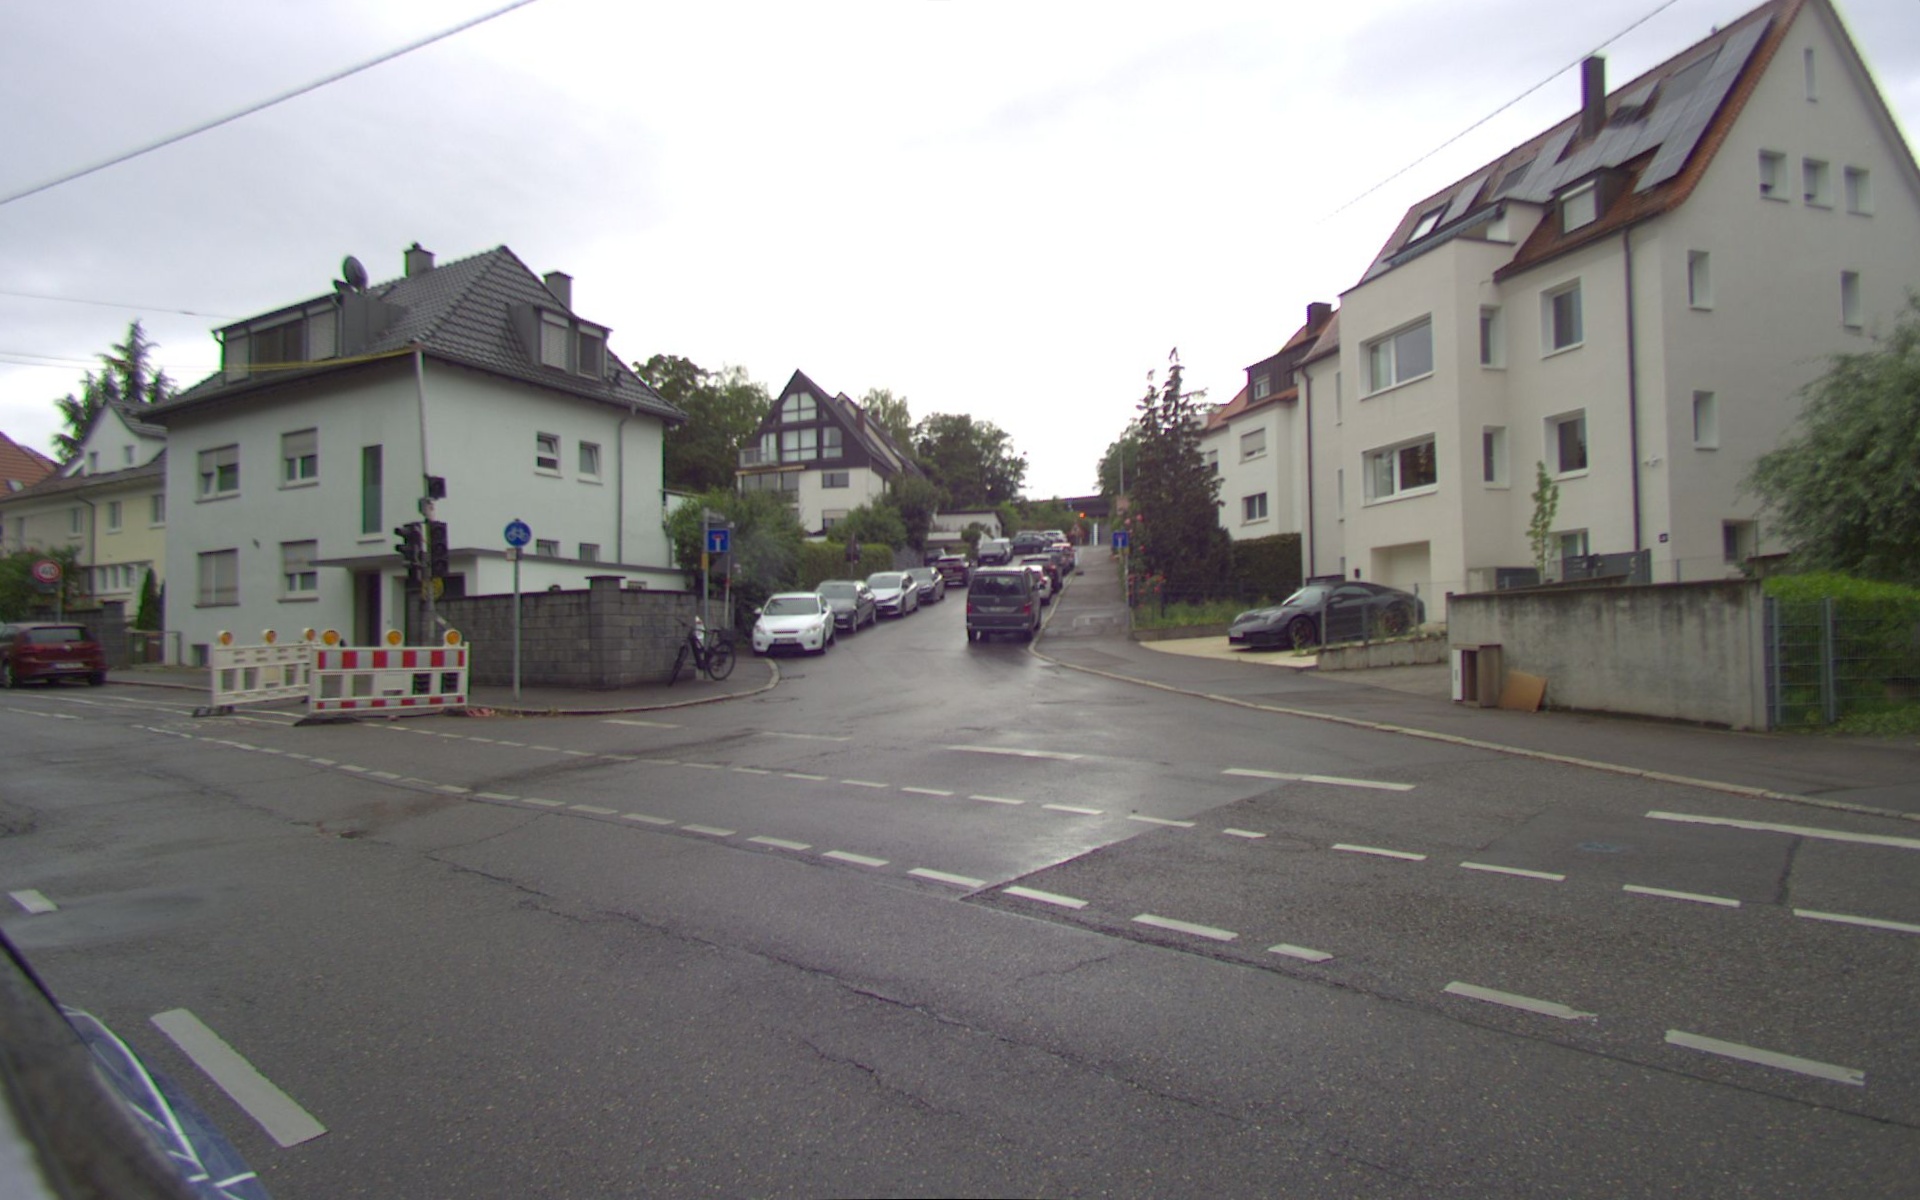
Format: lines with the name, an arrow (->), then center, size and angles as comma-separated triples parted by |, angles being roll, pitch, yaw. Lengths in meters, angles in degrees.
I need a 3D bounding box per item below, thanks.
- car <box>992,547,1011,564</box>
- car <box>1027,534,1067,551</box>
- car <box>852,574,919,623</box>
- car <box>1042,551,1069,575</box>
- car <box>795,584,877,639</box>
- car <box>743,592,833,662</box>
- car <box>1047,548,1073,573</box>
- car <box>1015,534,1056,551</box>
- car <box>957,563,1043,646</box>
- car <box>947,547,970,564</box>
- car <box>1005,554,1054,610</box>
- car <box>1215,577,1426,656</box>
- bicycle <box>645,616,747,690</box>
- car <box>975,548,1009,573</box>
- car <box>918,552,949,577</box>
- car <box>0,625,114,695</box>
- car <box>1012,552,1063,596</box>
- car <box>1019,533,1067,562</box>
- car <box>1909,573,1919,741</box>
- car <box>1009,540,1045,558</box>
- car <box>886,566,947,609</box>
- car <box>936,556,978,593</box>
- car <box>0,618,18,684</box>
car -> 3.065, -3.323, 74.702 | 1.292, 1.206, 2.980 | -1, 3, 5
car -> 8.946, -5.895, 103.906 | 3.782, 1.529, 1.664 | -1, -1, 15
car -> -2.652, -0.083, 37.078 | 1.738, 1.481, 3.940 | -1, 4, 6
car -> 5.509, -2.140, 58.103 | 1.274, 1.325, 2.984 | -1, 3, 10
car -> -3.821, 0.321, 31.810 | 1.702, 1.397, 3.900 | -1, 4, 6
car -> -4.348, 0.626, 26.147 | 1.827, 1.473, 4.124 | -1, 3, -3
car -> 6.244, -2.444, 62.839 | 1.488, 1.373, 3.465 | -1, 0, 8
car -> 7.399, -5.585, 98.780 | 3.922, 1.528, 1.748 | -1, 0, 6
car -> 1.248, 0.052, 29.317 | 1.978, 2.028, 4.482 | -1, 4, 9
car -> -0.075, -3.255, 74.013 | 1.559, 1.220, 3.650 | -1, 3, 2
car -> 2.826, -0.752, 40.315 | 1.686, 1.843, 4.194 | -1, 6, 7
car -> 7.713, 0.335, 21.763 | 3.942, 1.290, 1.613 | -5, 1, -13
bicycle -> -4.780, 0.933, 18.449 | 0.508, 1.249, 1.984 | 1, 0, 32
car -> 2.203, -2.667, 68.877 | 1.770, 1.531, 4.016 | -1, 0, 9
car -> -1.820, -2.415, 69.785 | 1.793, 1.566, 4.009 | -1, 0, 3
car -> -21.463, 1.336, 23.374 | 3.833, 1.443, 1.768 | -1, -1, 30
car -> 3.528, -1.191, 45.367 | 1.823, 1.699, 4.039 | -1, 5, 11
car -> 7.210, -4.558, 87.634 | 3.954, 2.028, 1.995 | -5, -1, 8
car -> 10.610, 0.423, 8.540 | 3.934, 1.497, 1.780 | -2, -1, -12
car -> 5.560, -4.194, 83.646 | 2.914, 1.328, 1.282 | -1, 0, 4
car -> -1.800, -0.551, 42.951 | 1.903, 1.448, 4.100 | -1, 5, 7
car -> -0.108, -1.360, 52.456 | 1.623, 1.637, 3.992 | -1, 5, 8
car -> -26.147, 1.319, 25.766 | 4.131, 1.653, 1.782 | -1, -1, 25
